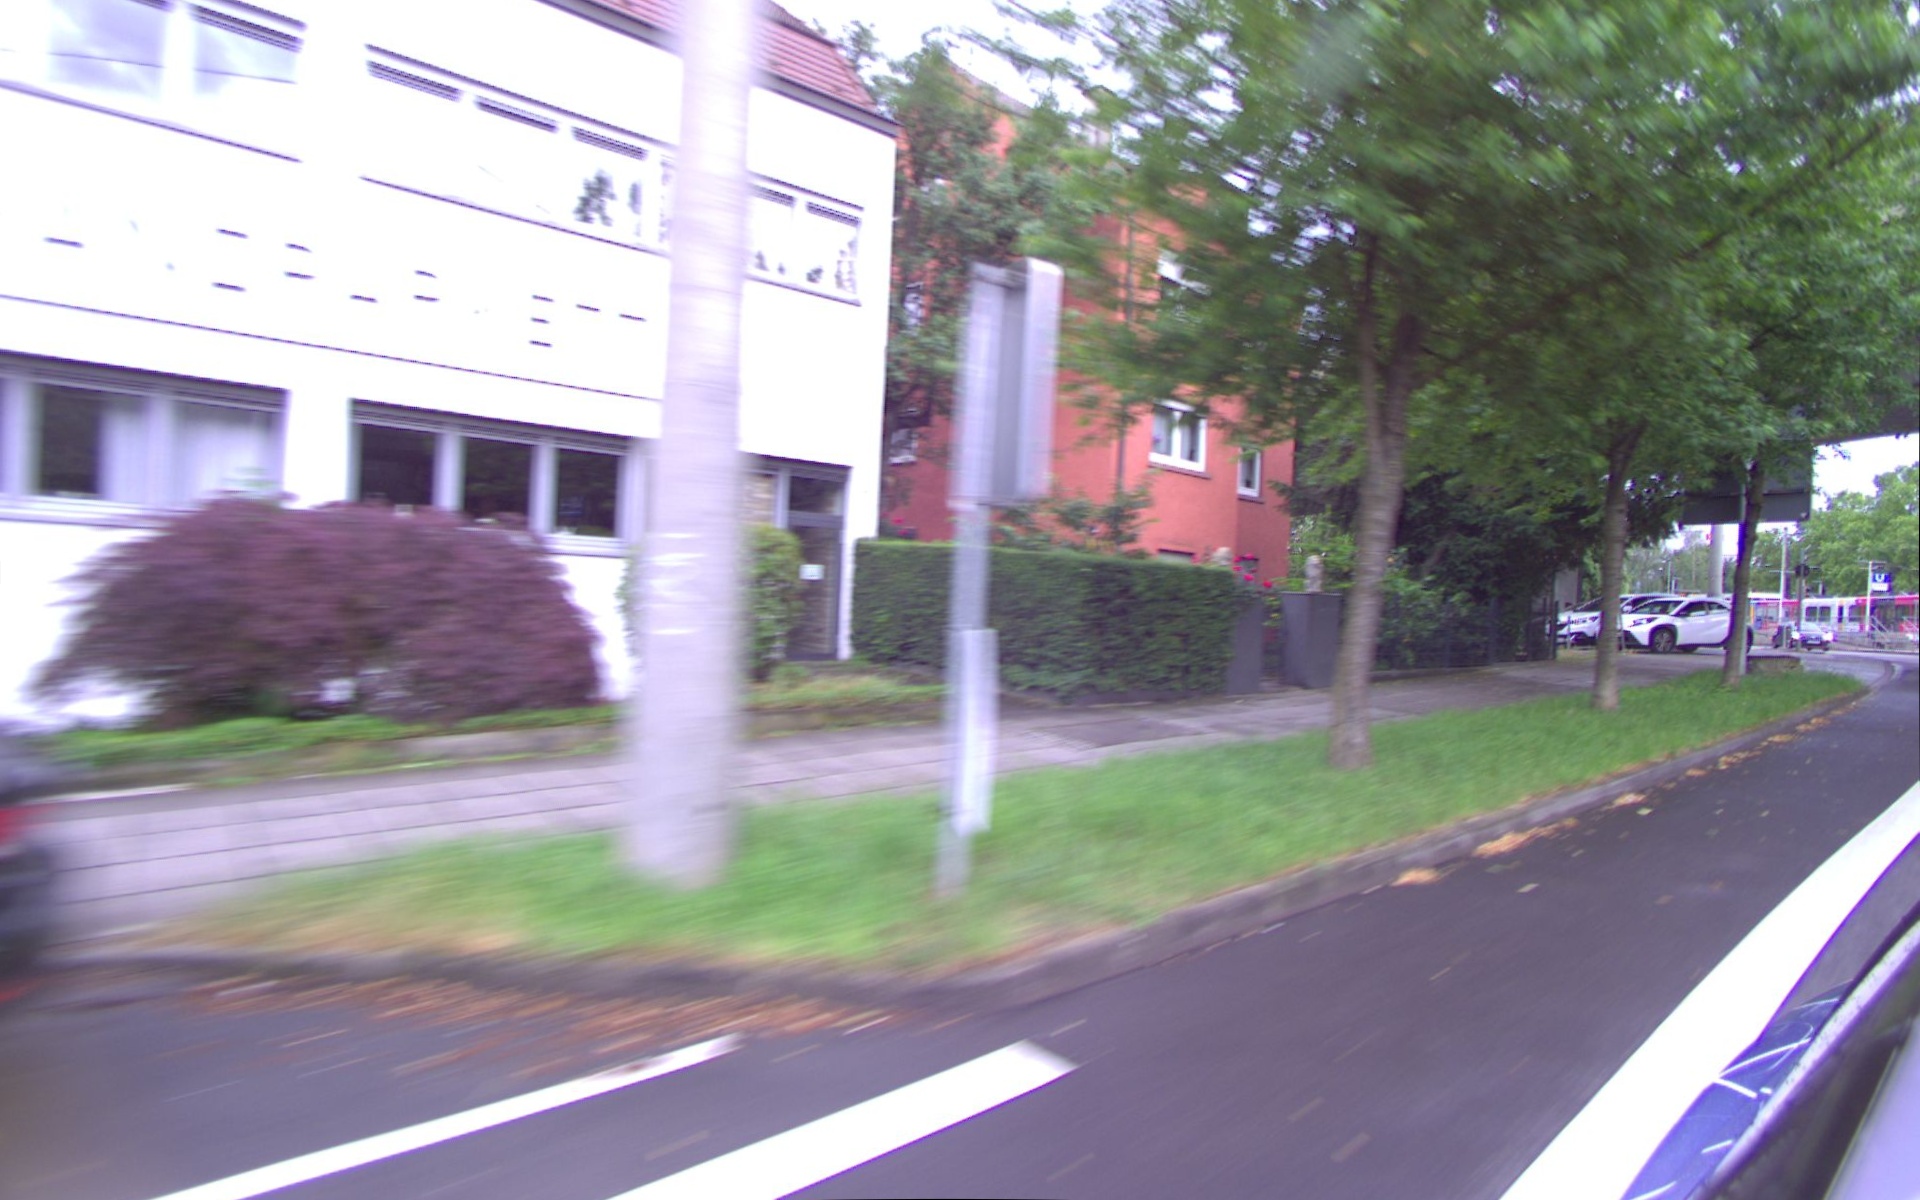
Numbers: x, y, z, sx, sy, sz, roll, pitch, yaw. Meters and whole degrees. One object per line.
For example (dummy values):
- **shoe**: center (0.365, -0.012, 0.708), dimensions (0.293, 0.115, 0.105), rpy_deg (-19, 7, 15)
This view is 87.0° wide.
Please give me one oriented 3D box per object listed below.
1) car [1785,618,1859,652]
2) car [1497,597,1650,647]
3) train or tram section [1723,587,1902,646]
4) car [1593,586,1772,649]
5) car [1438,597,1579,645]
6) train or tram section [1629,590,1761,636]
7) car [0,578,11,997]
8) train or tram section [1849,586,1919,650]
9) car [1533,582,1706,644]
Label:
- **car**: center (44.626, 1.766, 52.487), dimensions (1.762, 1.520, 3.968), rpy_deg (1, 1, 23)
- **car**: center (19.621, 0.697, 32.416), dimensions (3.966, 1.458, 1.790), rpy_deg (2, 0, -11)
- **train or tram section**: center (65.900, 1.123, 79.271), dimensions (2.836, 4.021, 19.235), rpy_deg (0, 0, 15)
- **car**: center (19.130, 0.449, 26.874), dimensions (3.658, 1.541, 1.806), rpy_deg (2, 0, -11)
- **car**: center (18.975, 0.706, 35.075), dimensions (3.918, 1.592, 1.908), rpy_deg (0, 0, -8)
- **train or tram section**: center (70.529, 1.121, 97.954), dimensions (2.833, 4.004, 19.256), rpy_deg (0, 0, 12)
- **car**: center (-4.642, 0.652, 1.557), dimensions (4.482, 1.441, 1.681), rpy_deg (0, 1, -38)
- **train or tram section**: center (60.428, 1.121, 60.932), dimensions (2.839, 4.011, 19.218), rpy_deg (0, 0, 18)
- **car**: center (19.264, 0.363, 29.627), dimensions (3.940, 1.651, 1.971), rpy_deg (2, 0, -11)
